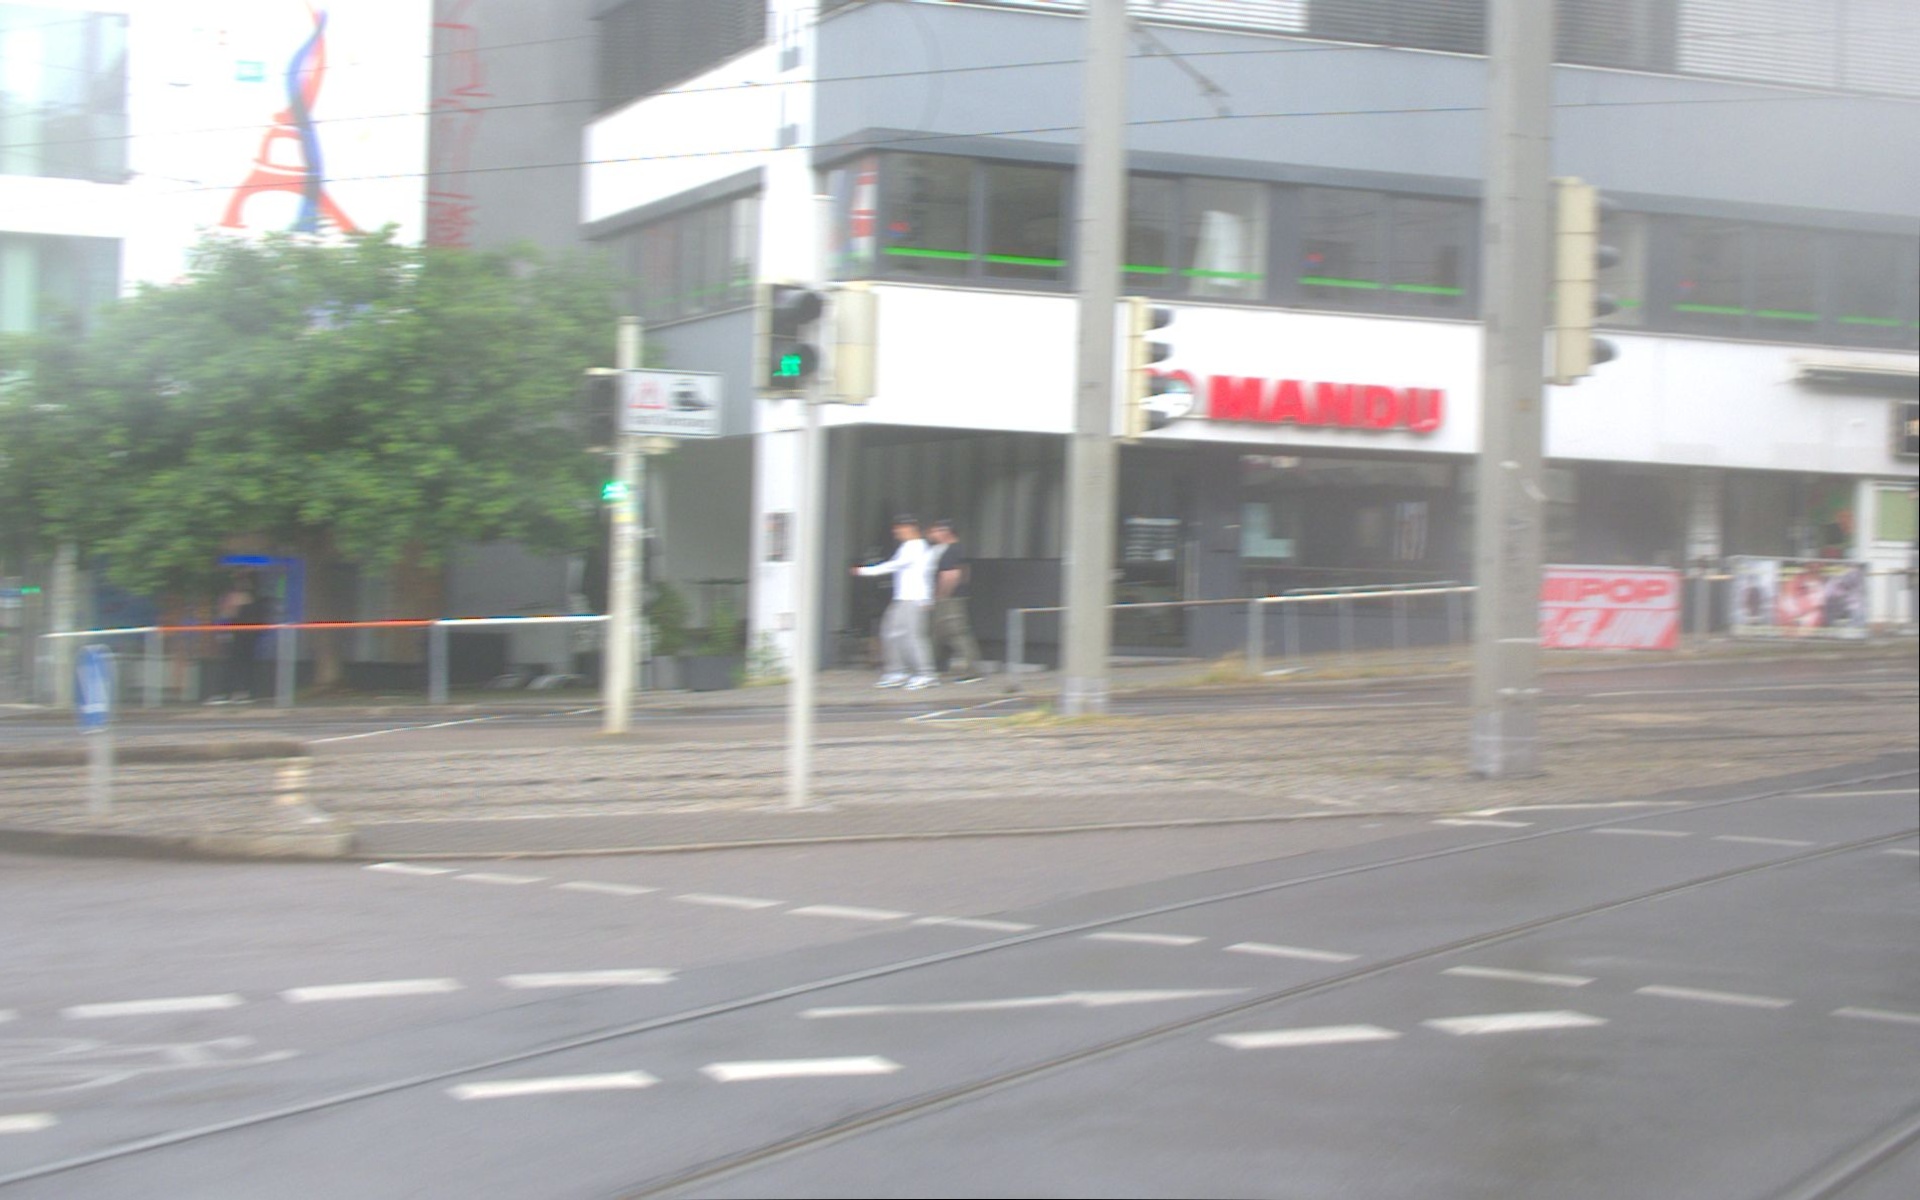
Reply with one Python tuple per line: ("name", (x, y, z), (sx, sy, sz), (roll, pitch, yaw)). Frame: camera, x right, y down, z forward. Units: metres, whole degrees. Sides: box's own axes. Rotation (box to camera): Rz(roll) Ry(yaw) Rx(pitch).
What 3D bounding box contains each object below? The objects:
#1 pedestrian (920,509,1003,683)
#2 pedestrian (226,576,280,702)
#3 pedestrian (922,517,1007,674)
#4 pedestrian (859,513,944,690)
("pedestrian", (0.020, -0.051, 38.060), (0.718, 1.907, 0.697), (0, 0, 21))
("pedestrian", (-8.787, 0.480, 42.725), (0.541, 1.558, 0.521), (0, 0, 3))
("pedestrian", (0.054, -0.058, 38.832), (0.718, 1.756, 0.697), (0, 0, 28))
("pedestrian", (-0.637, 0.015, 37.497), (0.718, 1.907, 0.697), (0, 0, 21))
